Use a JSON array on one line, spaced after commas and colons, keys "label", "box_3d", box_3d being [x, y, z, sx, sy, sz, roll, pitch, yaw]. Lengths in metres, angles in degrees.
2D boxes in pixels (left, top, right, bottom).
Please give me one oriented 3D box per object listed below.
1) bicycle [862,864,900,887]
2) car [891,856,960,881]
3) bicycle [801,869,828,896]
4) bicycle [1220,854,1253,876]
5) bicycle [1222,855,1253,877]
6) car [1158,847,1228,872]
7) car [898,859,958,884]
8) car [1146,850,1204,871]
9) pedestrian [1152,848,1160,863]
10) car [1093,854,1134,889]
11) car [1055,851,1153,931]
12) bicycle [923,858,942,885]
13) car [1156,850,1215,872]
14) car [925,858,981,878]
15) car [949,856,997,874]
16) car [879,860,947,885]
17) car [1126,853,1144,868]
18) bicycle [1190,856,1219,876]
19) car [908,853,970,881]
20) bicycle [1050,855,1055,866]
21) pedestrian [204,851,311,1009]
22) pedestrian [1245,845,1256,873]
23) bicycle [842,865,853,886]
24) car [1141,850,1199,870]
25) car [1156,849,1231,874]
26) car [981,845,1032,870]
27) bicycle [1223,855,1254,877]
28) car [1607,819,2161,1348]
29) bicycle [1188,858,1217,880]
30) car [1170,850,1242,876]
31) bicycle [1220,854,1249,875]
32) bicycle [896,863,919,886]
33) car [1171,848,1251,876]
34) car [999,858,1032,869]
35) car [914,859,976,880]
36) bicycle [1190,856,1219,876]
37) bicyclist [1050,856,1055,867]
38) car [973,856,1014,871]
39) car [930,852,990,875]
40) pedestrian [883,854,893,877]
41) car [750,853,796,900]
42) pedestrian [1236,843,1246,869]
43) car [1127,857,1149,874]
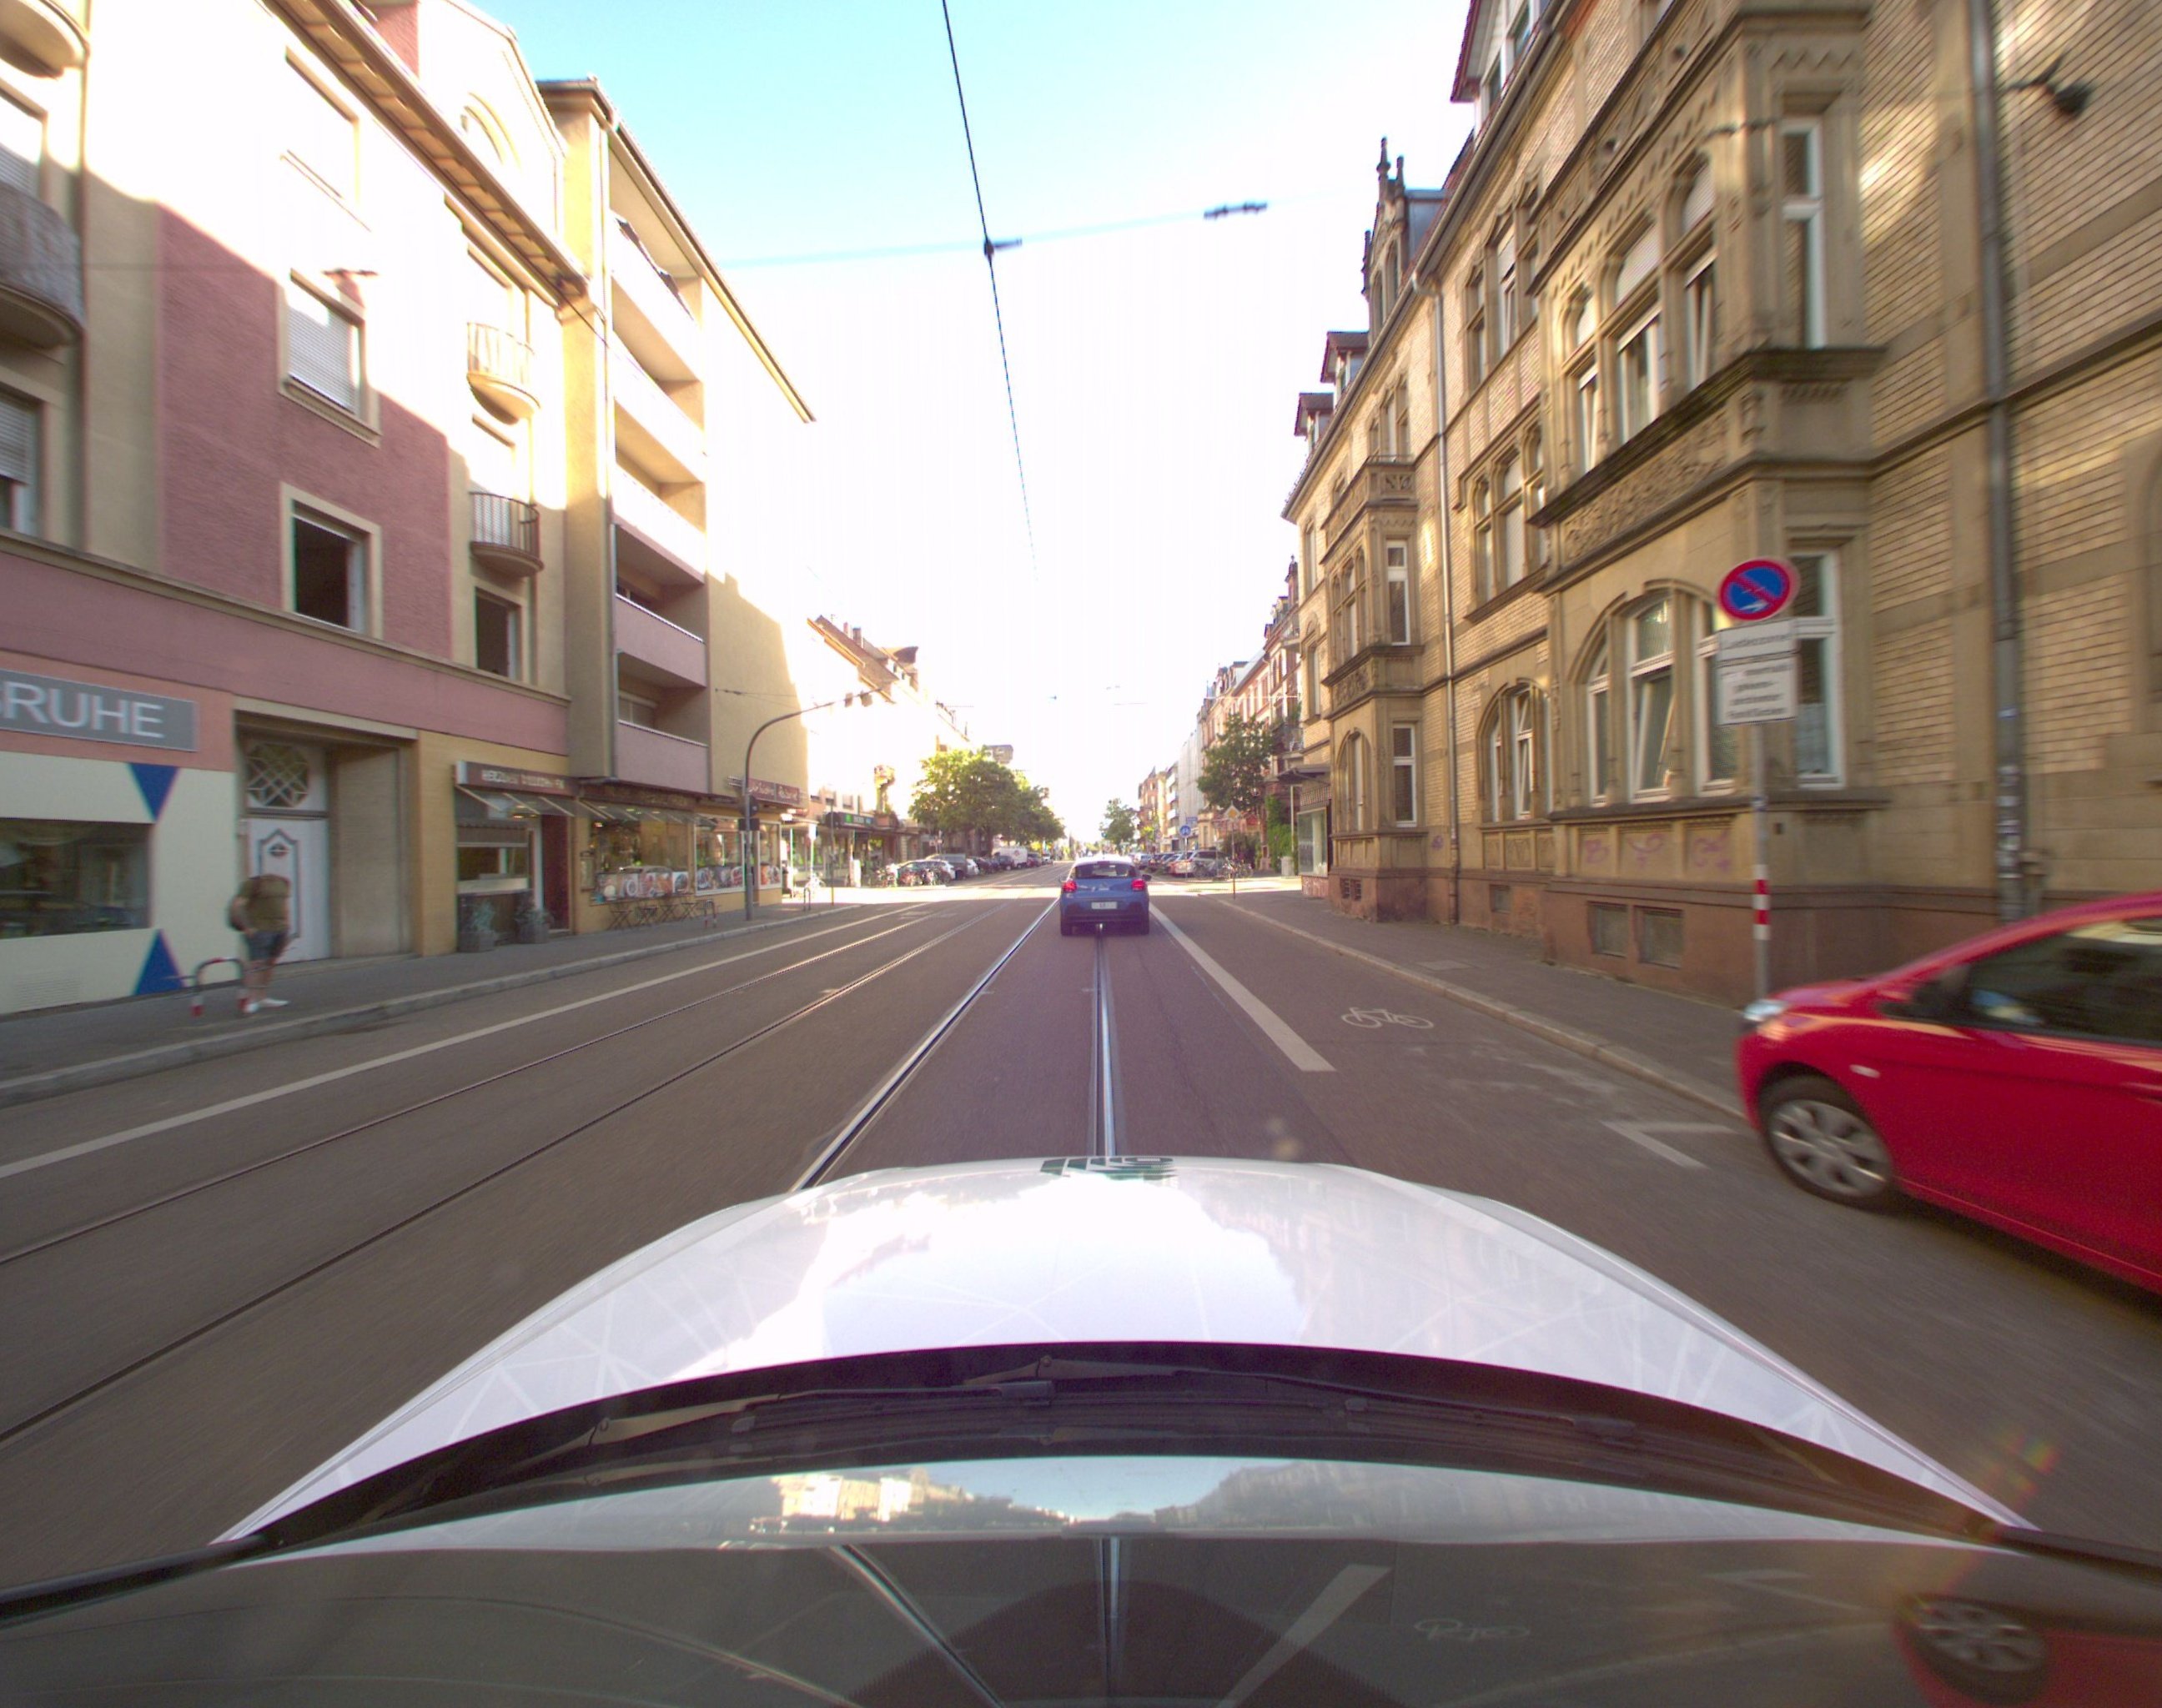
[{"label": "bicycle", "box_3d": [-10.624, 1.129, 43.178, 2.404, 1.109, 0.688, 1, 2, 41]}, {"label": "car", "box_3d": [-9.496, 0.871, 49.794, 3.805, 1.400, 1.737, -1, -1, -32]}, {"label": "bicycle", "box_3d": [-12.634, 1.336, 38.673, 0.680, 1.109, 2.431, -1, 2, -5]}, {"label": "bicycle", "box_3d": [8.300, 0.579, 43.524, 1.665, 1.127, 0.552, -1, -1, 7]}, {"label": "bicycle", "box_3d": [8.234, 0.646, 42.891, 1.547, 1.127, 0.529, -1, -1, 7]}, {"label": "car", "box_3d": [7.726, 0.375, 56.259, 4.337, 1.596, 2.029, -1, -1, -24]}, {"label": "car", "box_3d": [-9.927, 1.096, 52.839, 3.479, 1.473, 1.633, -2, 0, -28]}, {"label": "car", "box_3d": [7.412, 0.528, 64.191, 4.005, 1.596, 2.071, -1, -1, -24]}, {"label": "pedestrian", "box_3d": [8.051, 0.191, 87.414, 0.709, 1.607, 0.654, -1, -1, 0]}, {"label": "car", "box_3d": [1.547, 0.807, 39.666, 1.866, 1.596, 4.001, -1, 0, 2]}, {"label": "car", "box_3d": [0.453, 0.691, 16.649, 1.756, 1.441, 3.557, -1, 0, 1]}, {"label": "bicycle", "box_3d": [-7.996, 0.927, 43.872, 0.680, 1.319, 2.433, -1, 2, -3]}, {"label": "car", "box_3d": [7.831, 0.501, 61.115, 4.005, 1.596, 1.944, -1, -1, -24]}, {"label": "car", "box_3d": [-9.681, 1.050, 61.461, 3.850, 1.430, 1.751, -1, -1, -25]}, {"label": "car", "box_3d": [-9.837, 1.000, 74.405, 4.008, 1.489, 1.790, -1, -1, -27]}, {"label": "car", "box_3d": [-9.633, 1.020, 46.728, 3.484, 1.337, 1.608, -1, -1, -33]}, {"label": "car", "box_3d": [5.931, 0.702, 90.330, 1.866, 1.596, 4.001, -1, 0, 2]}, {"label": "bicycle", "box_3d": [6.742, 0.650, 44.453, 1.547, 1.079, 0.308, -1, -1, 7]}, {"label": "car", "box_3d": [-9.670, 0.862, 55.383, 3.831, 1.785, 1.781, -1, -1, -27]}, {"label": "bicycle", "box_3d": [-4.204, 0.972, 120.937, 0.678, 1.678, 2.097, -1, -1, 1]}, {"label": "pedestrian", "box_3d": [-9.175, 0.820, 9.095, 0.561, 1.686, 0.616, -1, -1, 0]}, {"label": "pedestrian", "box_3d": [10.799, 0.304, 51.988, 0.516, 1.778, 0.864, -1, -1, 1]}, {"label": "bicycle", "box_3d": [-12.524, 1.158, 43.634, 0.404, 1.109, 1.825, -1, -1, -20]}, {"label": "car", "box_3d": [7.311, 0.474, 66.621, 4.322, 1.596, 1.967, -1, -1, -24]}, {"label": "car", "box_3d": [7.424, 0.481, 53.628, 4.454, 1.596, 2.072, -1, -1, -24]}, {"label": "car", "box_3d": [-8.394, 0.366, 91.778, 5.403, 2.749, 1.789, -1, -1, -29]}, {"label": "bicycle", "box_3d": [8.167, 0.632, 42.312, 1.547, 1.127, 0.552, -1, -1, 7]}, {"label": "car", "box_3d": [4.051, 0.644, 2.607, 1.859, 1.482, 4.401, -4, 0, 1]}, {"label": "bicycle", "box_3d": [6.373, 0.793, 42.734, 1.396, 1.127, 0.550, -1, -1, -9]}, {"label": "car", "box_3d": [7.732, 0.533, 50.286, 4.005, 1.536, 1.903, -1, -1, -24]}, {"label": "bicycle", "box_3d": [8.383, 0.578, 44.529, 1.547, 1.127, 0.552, -1, -1, 7]}, {"label": "bicycle", "box_3d": [-9.334, 1.103, 43.713, 0.686, 1.123, 1.870, -2, 2, -30]}, {"label": "car", "box_3d": [7.659, 0.452, 48.086, 4.371, 1.596, 1.839, -1, -1, -24]}, {"label": "car", "box_3d": [-8.139, 1.165, 101.543, 3.815, 1.265, 1.504, -1, -1, -25]}, {"label": "car", "box_3d": [-9.702, 1.095, 58.028, 4.032, 1.449, 1.682, -1, -1, -32]}, {"label": "bicycle", "box_3d": [6.793, 0.661, 44.805, 1.551, 1.127, 0.295, -1, -1, 7]}, {"label": "bicyclist", "box_3d": [-4.198, 1.096, 120.891, 0.632, 1.681, 0.727, -1, -1, 1]}, {"label": "car", "box_3d": [-9.243, 1.009, 85.892, 3.994, 1.489, 1.797, -1, -1, -16]}, {"label": "car", "box_3d": [-9.795, 0.787, 66.168, 4.381, 1.783, 1.976, -1, -1, -32]}, {"label": "pedestrian", "box_3d": [-14.113, 0.862, 59.471, 0.567, 1.652, 0.641, -1, -1, 1]}, {"label": "car", "box_3d": [-14.848, 1.015, 39.385, 1.849, 1.817, 4.330, -4, 4, -20]}, {"label": "pedestrian", "box_3d": [10.177, 0.129, 51.817, 0.516, 1.648, 0.864, -1, -1, 1]}, {"label": "car", "box_3d": [5.452, 1.073, 78.417, 1.866, 1.596, 4.721, -1, 0, 2]}]
